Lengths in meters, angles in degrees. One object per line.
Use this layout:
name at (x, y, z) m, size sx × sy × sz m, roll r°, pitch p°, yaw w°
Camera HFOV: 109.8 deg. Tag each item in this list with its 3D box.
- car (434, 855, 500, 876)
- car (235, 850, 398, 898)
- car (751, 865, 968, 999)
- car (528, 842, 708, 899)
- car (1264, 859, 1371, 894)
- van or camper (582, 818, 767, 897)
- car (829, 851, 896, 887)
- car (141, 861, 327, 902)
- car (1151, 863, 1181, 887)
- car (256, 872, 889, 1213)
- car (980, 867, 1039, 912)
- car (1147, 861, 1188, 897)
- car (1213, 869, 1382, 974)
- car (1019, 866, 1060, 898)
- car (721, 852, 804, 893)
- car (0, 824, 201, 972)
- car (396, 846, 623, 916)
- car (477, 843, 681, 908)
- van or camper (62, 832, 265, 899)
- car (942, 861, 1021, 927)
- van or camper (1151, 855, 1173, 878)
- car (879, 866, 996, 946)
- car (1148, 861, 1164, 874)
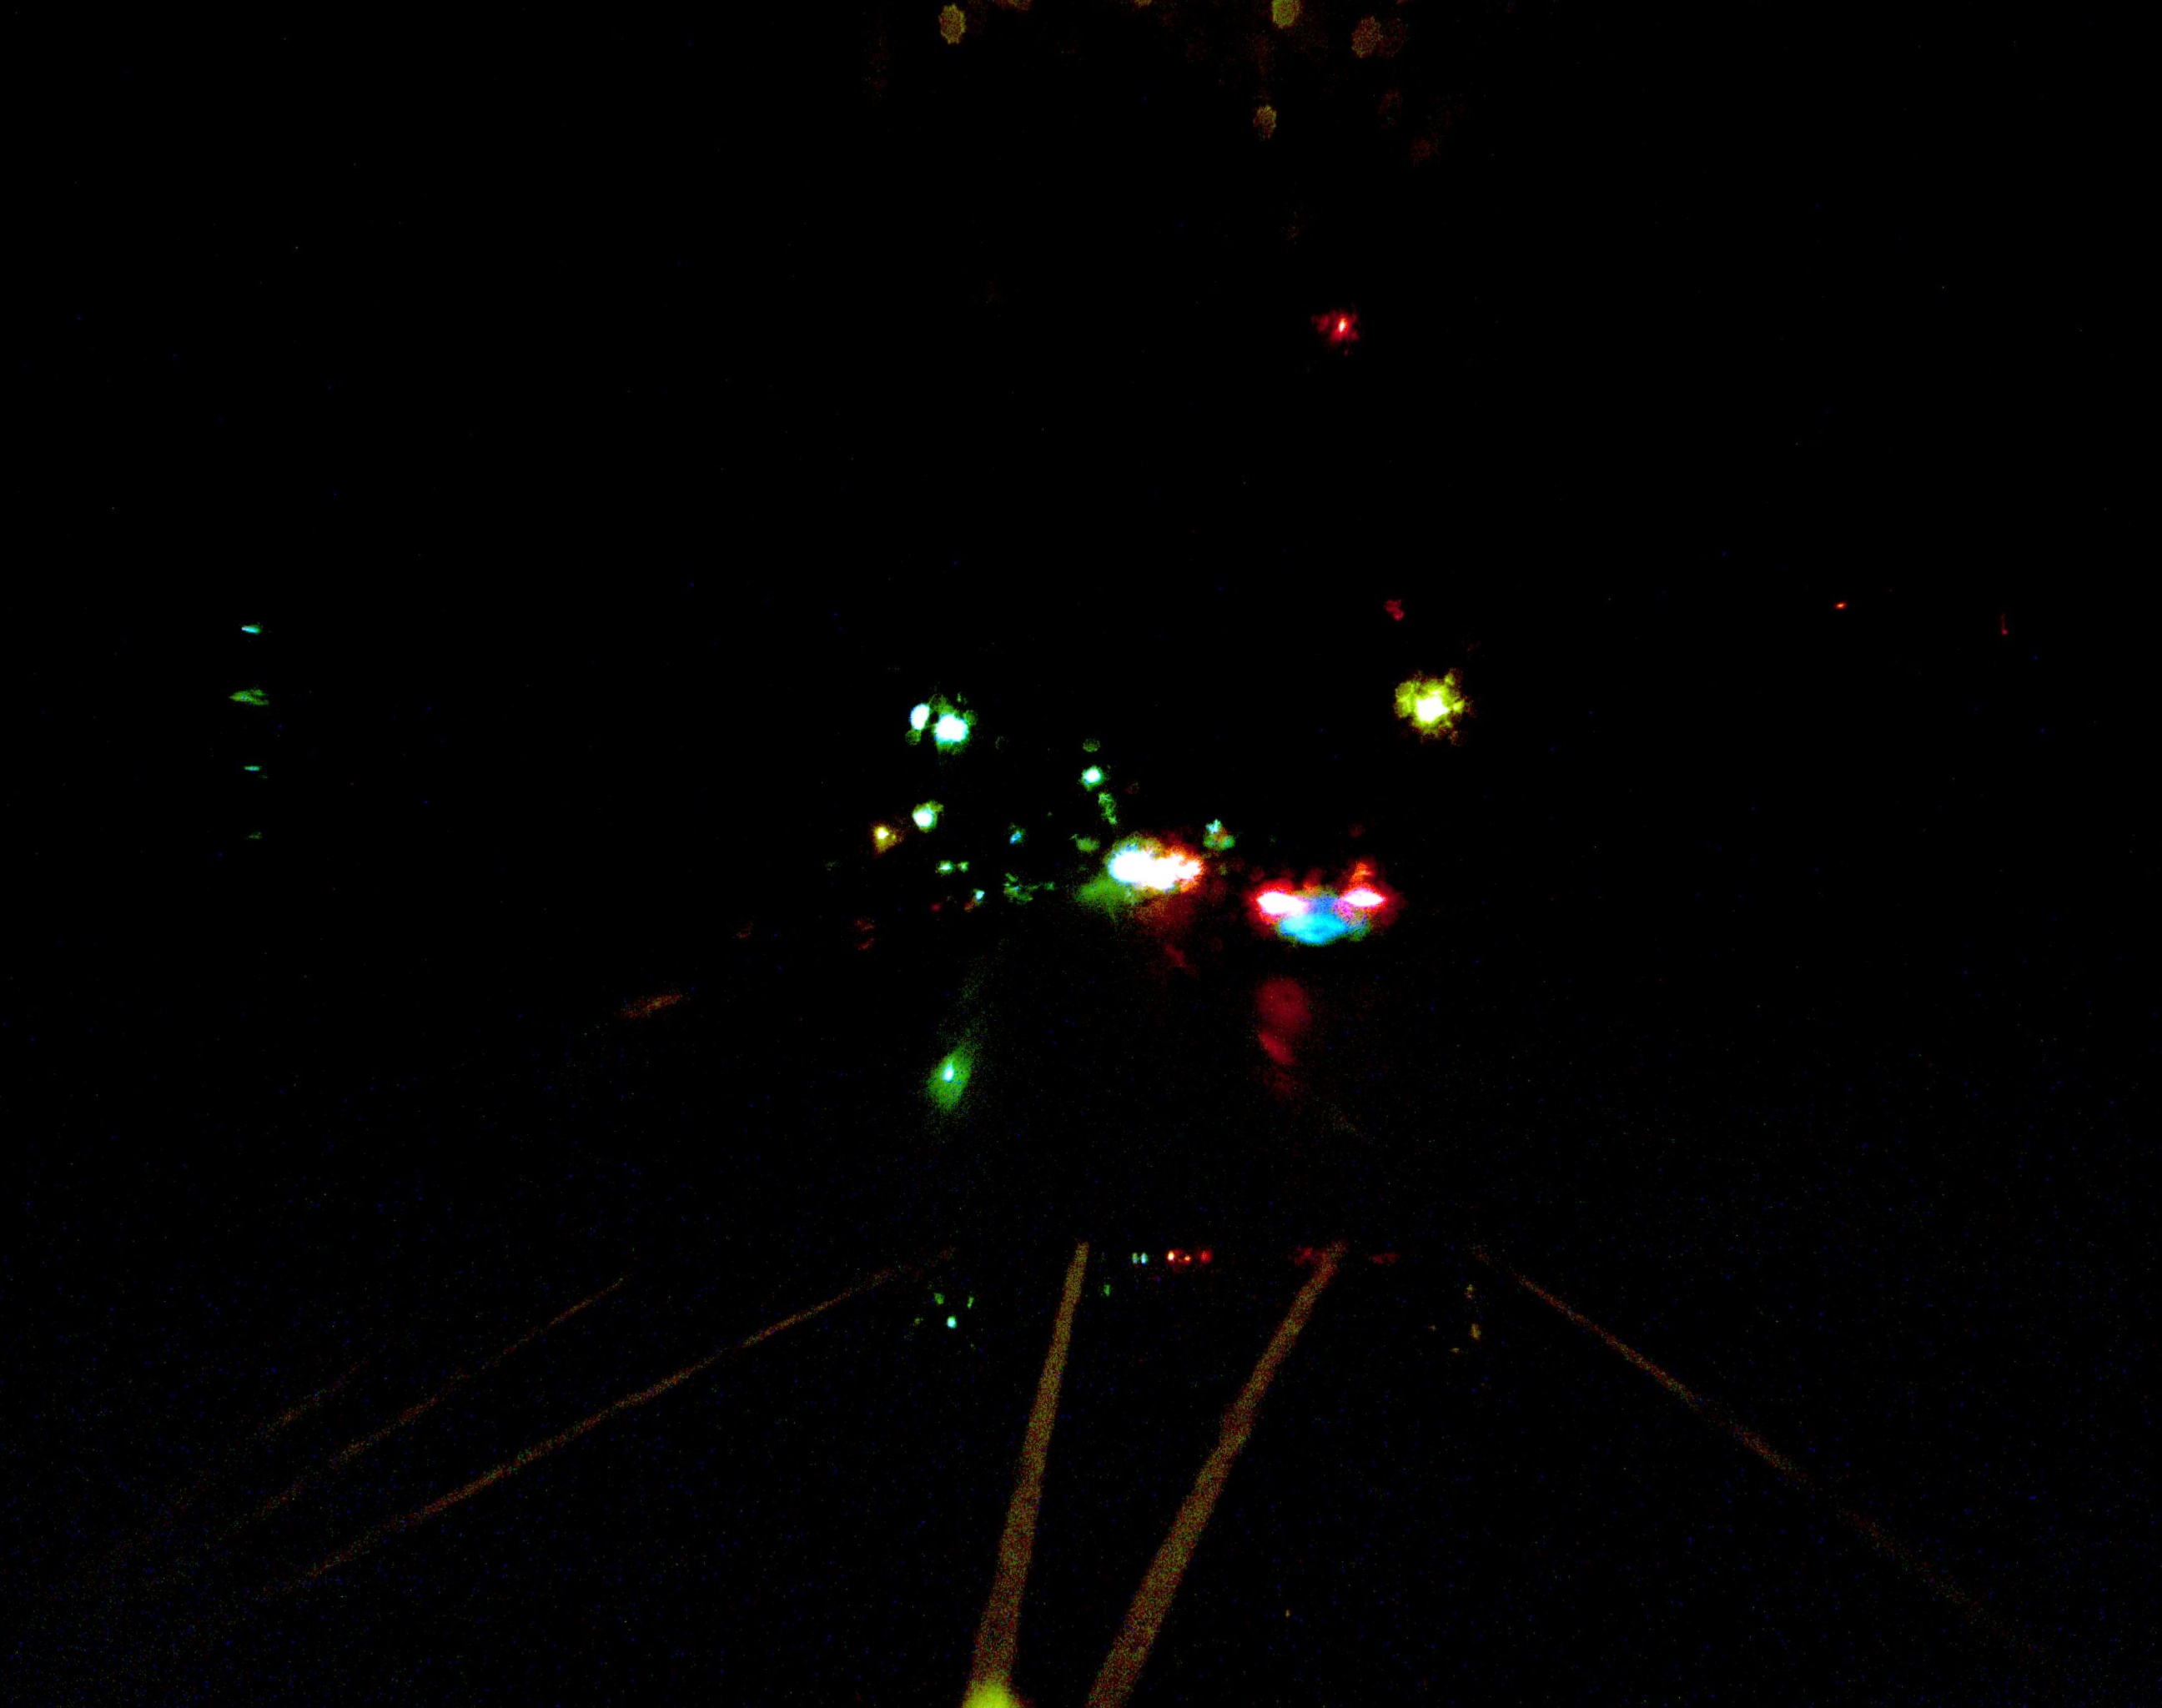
car at (-46.341, 0.853, 57.446) m, size 1.752 × 1.500 × 3.794 m, roll 0°, pitch 0°, yaw 6°
car at (-25.956, 0.659, 25.870) m, size 3.997 × 1.567 × 1.566 m, roll 0°, pitch 0°, yaw 1°
car at (-2.996, 0.971, 11.393) m, size 1.886 × 1.563 × 4.528 m, roll 2°, pitch -1°, yaw 0°
car at (-13.651, 0.493, 22.558) m, size 4.228 × 1.607 × 1.806 m, roll 0°, pitch 0°, yaw 1°
car at (11.082, 1.050, 35.901) m, size 4.696 × 1.609 × 2.002 m, roll -1°, pitch -1°, yaw 14°
van or camper at (-13.437, 0.130, 25.308) m, size 5.073 × 2.512 × 2.172 m, roll 0°, pitch 0°, yaw 5°
car at (-11.184, 0.735, 39.164) m, size 1.908 × 1.685 × 4.260 m, roll -2°, pitch 0°, yaw 4°
car at (-26.348, 0.840, 23.728) m, size 3.997 × 1.242 × 1.644 m, roll 0°, pitch 0°, yaw 1°
car at (5.755, 1.382, 51.812) m, size 1.800 × 1.452 × 4.579 m, roll -3°, pitch 0°, yaw 4°
car at (-3.058, 0.977, 6.002) m, size 1.886 × 1.563 × 4.589 m, roll 2°, pitch -1°, yaw 0°
car at (-2.590, 1.256, 28.506) m, size 1.717 × 1.480 × 4.437 m, roll 0°, pitch 0°, yaw 1°
car at (3.854, 1.081, 34.082) m, size 1.551 × 1.490 × 2.793 m, roll -2°, pitch 0°, yaw 1°
car at (3.361, 0.979, 12.681) m, size 1.679 × 1.426 × 4.513 m, roll 0°, pitch -1°, yaw 2°
car at (-2.087, 1.409, 39.498) m, size 1.794 × 1.440 × 4.791 m, roll 1°, pitch 0°, yaw 1°
car at (-12.078, 0.694, 29.030) m, size 1.566 × 1.460 × 3.409 m, roll 0°, pitch 0°, yaw 3°
car at (-14.675, 0.548, 10.086) m, size 4.075 × 1.779 × 1.750 m, roll 0°, pitch 0°, yaw 3°
car at (-13.126, 0.606, 17.601) m, size 3.997 × 1.512 × 1.685 m, roll 0°, pitch 0°, yaw 1°
car at (-13.035, 0.543, 19.880) m, size 4.228 × 1.607 × 1.685 m, roll 0°, pitch 0°, yaw 1°
van or camper at (-36.575, 0.440, 30.404) m, size 5.389 × 2.539 × 2.383 m, roll 0°, pitch 0°, yaw 3°
car at (-2.822, 1.104, 22.368) m, size 1.717 × 1.697 × 4.187 m, roll 2°, pitch -1°, yaw 0°
van or camper at (7.610, 1.179, 71.996) m, size 1.874 × 2.091 × 4.944 m, roll 0°, pitch 0°, yaw 4°
car at (-3.097, 1.062, 17.213) m, size 1.758 × 1.519 × 4.154 m, roll 2°, pitch -1°, yaw 1°
car at (8.498, 1.520, 86.442) m, size 1.749 × 1.424 × 4.003 m, roll -1°, pitch -2°, yaw 5°
